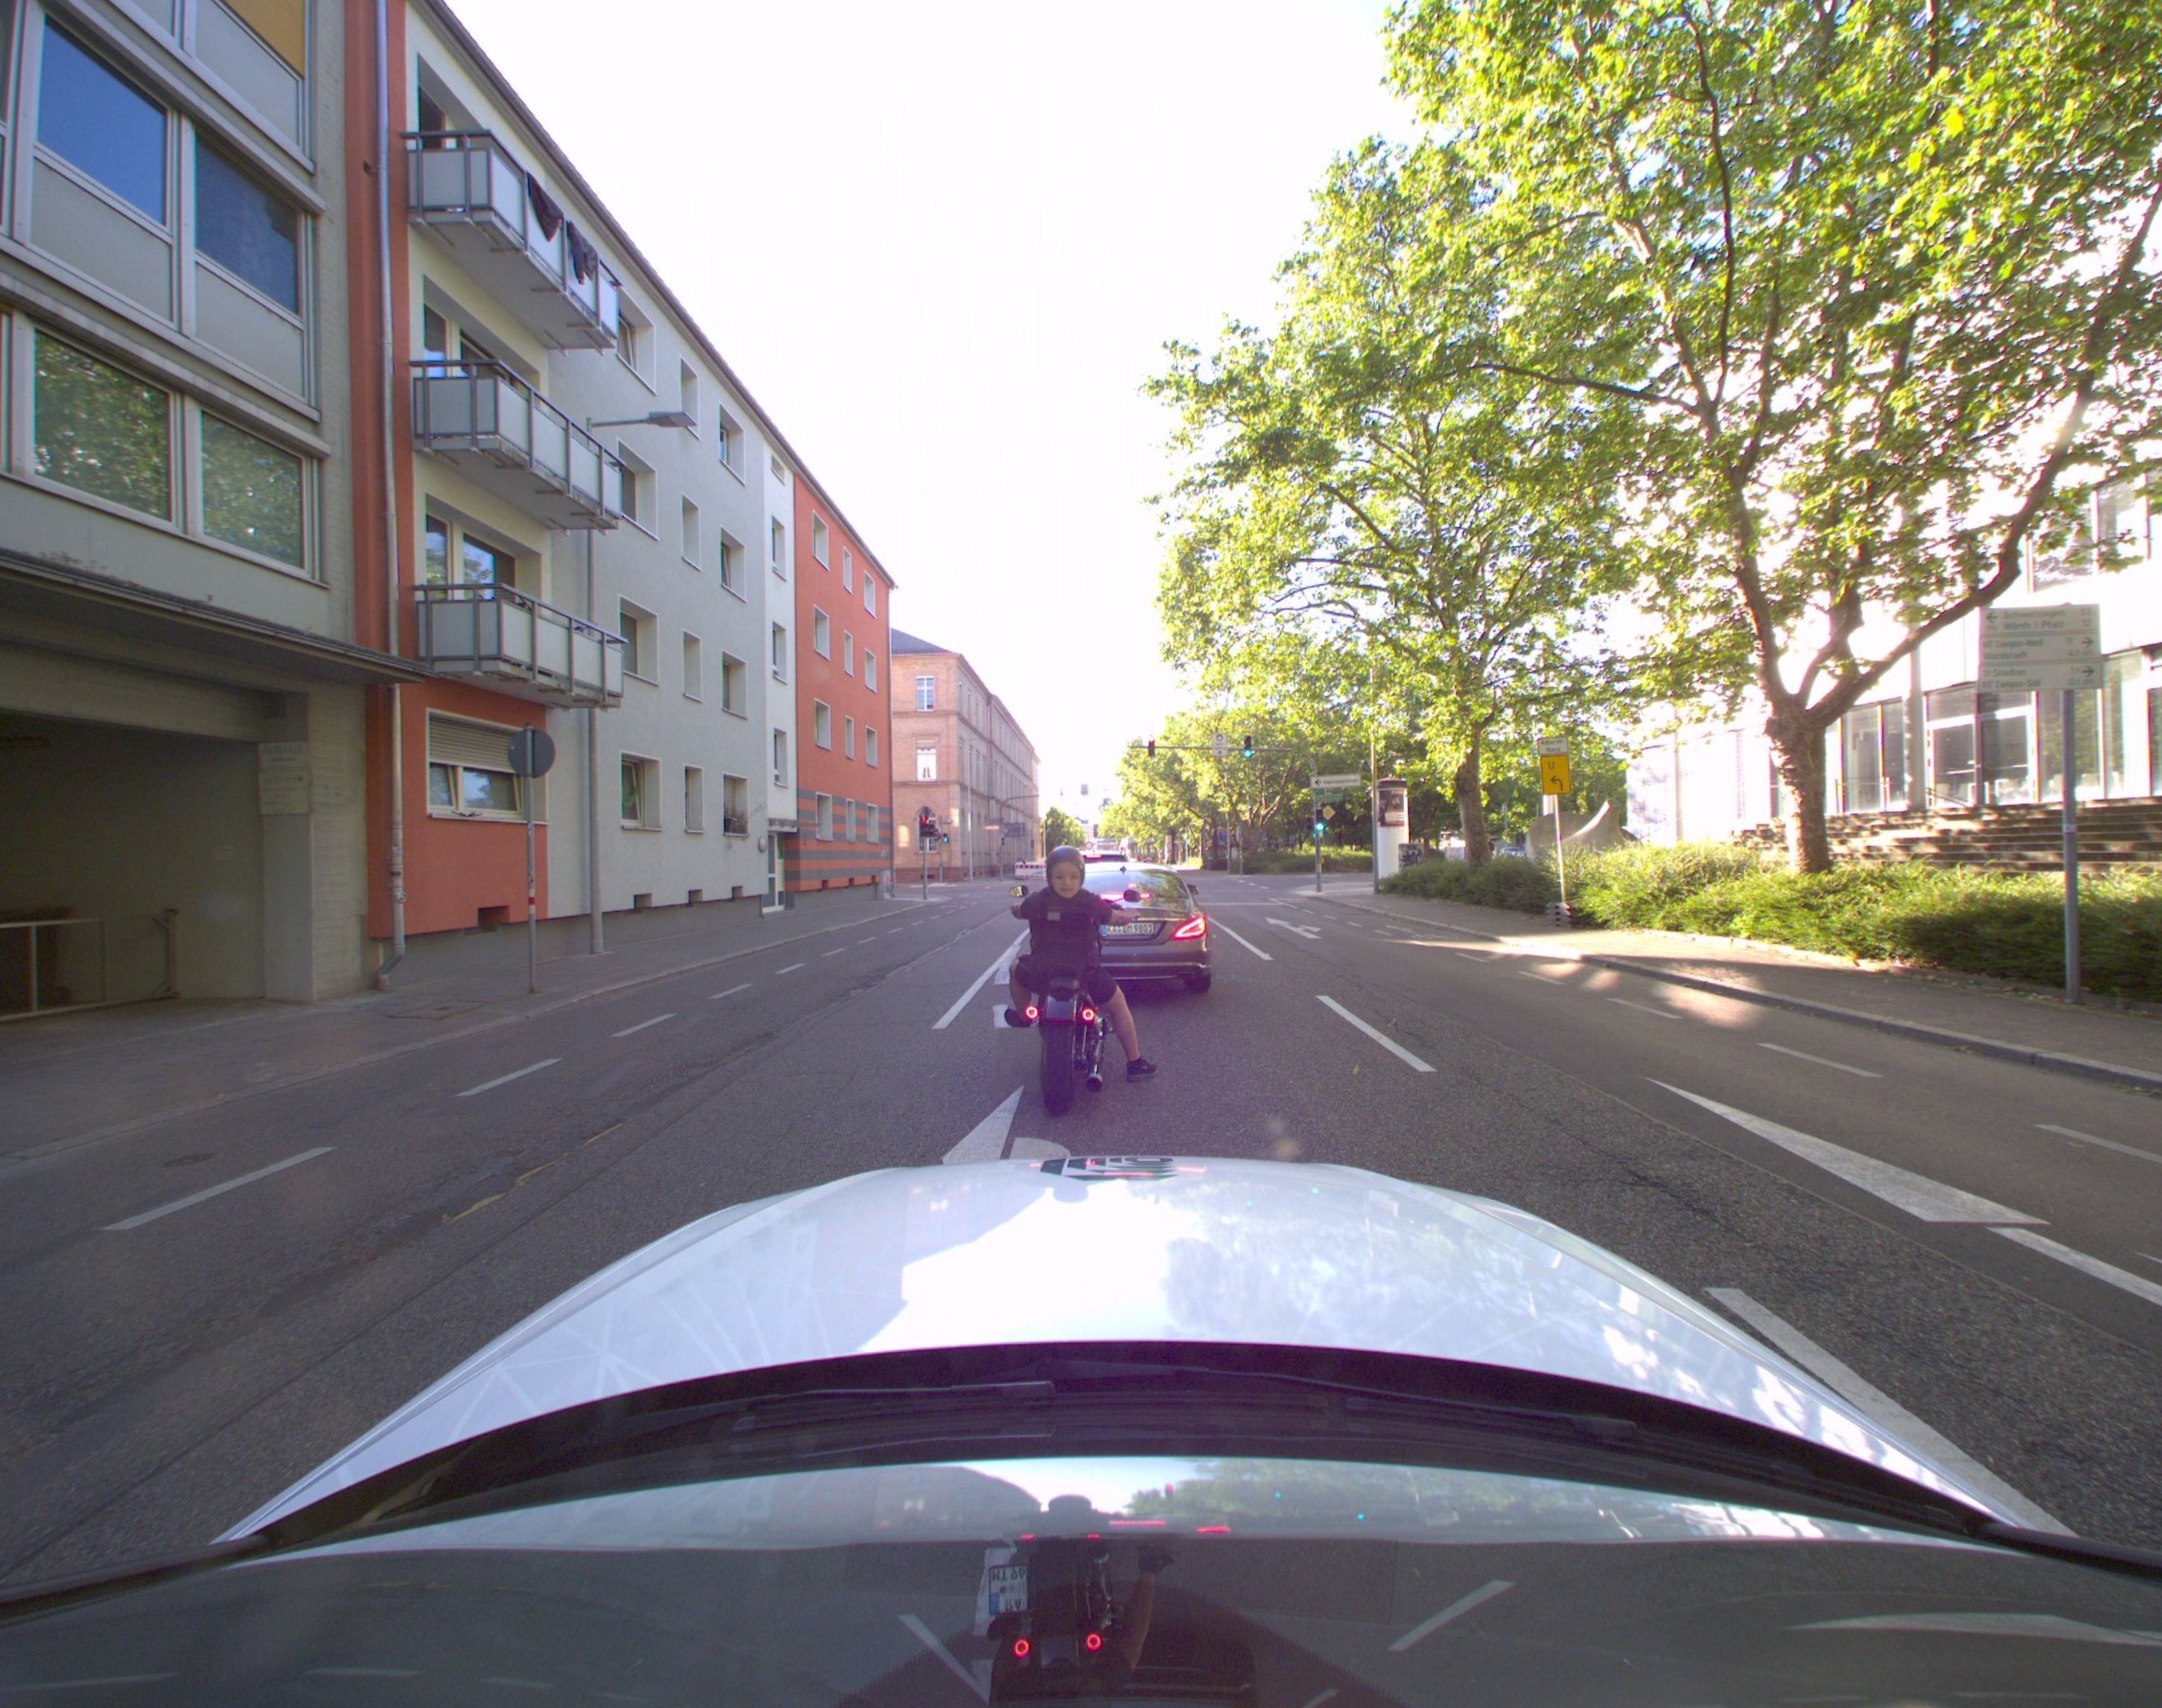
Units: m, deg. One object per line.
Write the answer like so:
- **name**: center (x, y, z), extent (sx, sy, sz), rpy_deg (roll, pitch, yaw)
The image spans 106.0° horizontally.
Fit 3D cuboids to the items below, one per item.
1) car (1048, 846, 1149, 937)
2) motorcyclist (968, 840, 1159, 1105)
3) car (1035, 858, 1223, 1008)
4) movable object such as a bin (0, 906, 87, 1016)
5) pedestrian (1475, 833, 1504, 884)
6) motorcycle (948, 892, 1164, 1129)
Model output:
- **car**: center (0.386, 0.712, 17.074), extent (1.856, 1.678, 4.001), rpy_deg (0, -1, 2)
- **motorcyclist**: center (-0.065, 0.705, 5.410), extent (1.093, 1.566, 1.074), rpy_deg (-1, -1, 8)
- **car**: center (0.525, 0.781, 9.785), extent (1.815, 1.437, 3.807), rpy_deg (0, -1, 2)
- **movable object such as a bin**: center (-11.280, 1.119, 8.653), extent (0.533, 1.079, 0.723), rpy_deg (0, -1, 3)
- **pedestrian**: center (14.461, 0.170, 28.863), extent (0.731, 1.778, 0.731), rpy_deg (-1, -1, 10)
- **motorcycle**: center (-0.037, 0.913, 5.628), extent (1.111, 1.207, 2.217), rpy_deg (-1, -1, 8)
